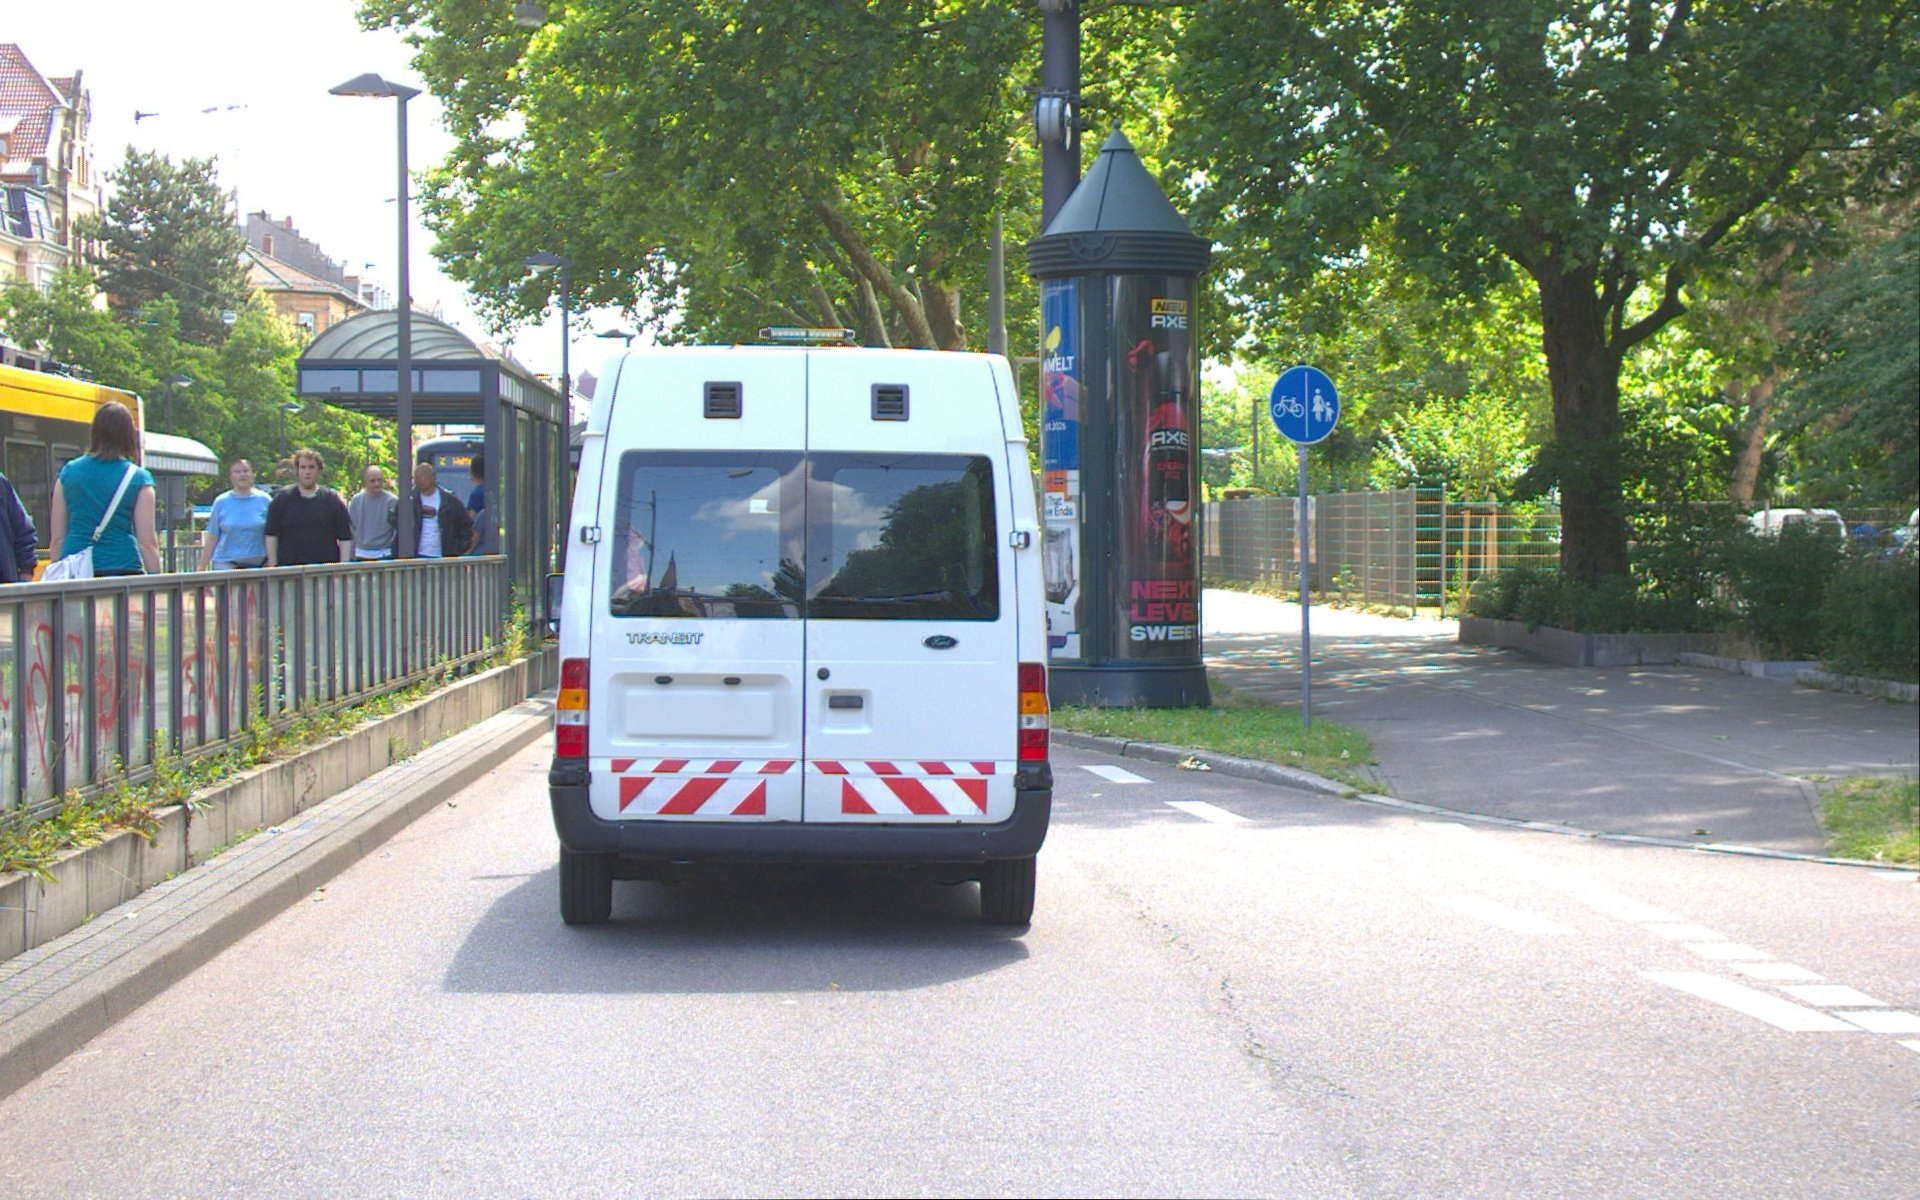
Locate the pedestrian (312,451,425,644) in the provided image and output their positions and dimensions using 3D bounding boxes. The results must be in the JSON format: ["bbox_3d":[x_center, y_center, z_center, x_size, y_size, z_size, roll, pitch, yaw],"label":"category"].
[{"bbox_3d":[-5.623,-0.503,32.754,0.886,1.794,1.495,0,1,-3],"label":"pedestrian"}]

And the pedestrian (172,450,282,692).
[{"bbox_3d":[-5.683,-0.224,26.688,0.701,1.843,0.908,0,1,-3],"label":"pedestrian"}]

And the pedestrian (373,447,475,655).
[{"bbox_3d":[-4.889,-0.452,31.417,0.810,1.866,1.031,0,1,-3],"label":"pedestrian"}]

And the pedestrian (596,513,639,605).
[{"bbox_3d":[-5.689,-0.686,57.087,0.675,1.510,0.596,0,1,-3],"label":"pedestrian"}]

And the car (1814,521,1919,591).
[{"bbox_3d":[18.991,-0.915,70.458,1.807,1.397,4.048,0,1,-2],"label":"car"}]

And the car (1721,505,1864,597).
[{"bbox_3d":[17.017,-1.008,70.453,1.807,1.808,4.339,0,1,-1],"label":"car"}]

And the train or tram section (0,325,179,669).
[{"bbox_3d":[-11.464,-1.147,39.038,2.723,3.572,13.018,1,1,-2],"label":"train or tram section"}]

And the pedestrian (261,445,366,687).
[{"bbox_3d":[-5.008,-0.263,26.667,0.701,1.843,0.789,0,1,-3],"label":"pedestrian"}]

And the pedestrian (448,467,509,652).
[{"bbox_3d":[-4.977,-0.419,35.522,0.470,1.894,0.537,0,1,-27],"label":"pedestrian"}]

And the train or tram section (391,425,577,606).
[{"bbox_3d":[-10.181,-1.804,74.805,2.723,3.572,13.018,1,1,-2],"label":"train or tram section"}]

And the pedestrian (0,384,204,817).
[{"bbox_3d":[-3.914,-0.003,15.524,0.827,1.892,0.846,1,1,-2],"label":"pedestrian"}]

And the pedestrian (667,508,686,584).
[{"bbox_3d":[-5.923,-1.126,71.882,0.385,1.586,0.439,0,1,-3],"label":"pedestrian"}]

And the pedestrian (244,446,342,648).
[{"bbox_3d":[-6.051,-0.483,31.231,0.712,1.794,1.132,0,1,-3],"label":"pedestrian"}]

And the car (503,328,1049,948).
[{"bbox_3d":[-0.779,0.093,15.279,2.047,2.325,4.715,0,1,-2],"label":"car"}]

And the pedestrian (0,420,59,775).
[{"bbox_3d":[-5.134,-0.021,17.543,0.857,1.769,0.876,1,1,-2],"label":"pedestrian"}]
